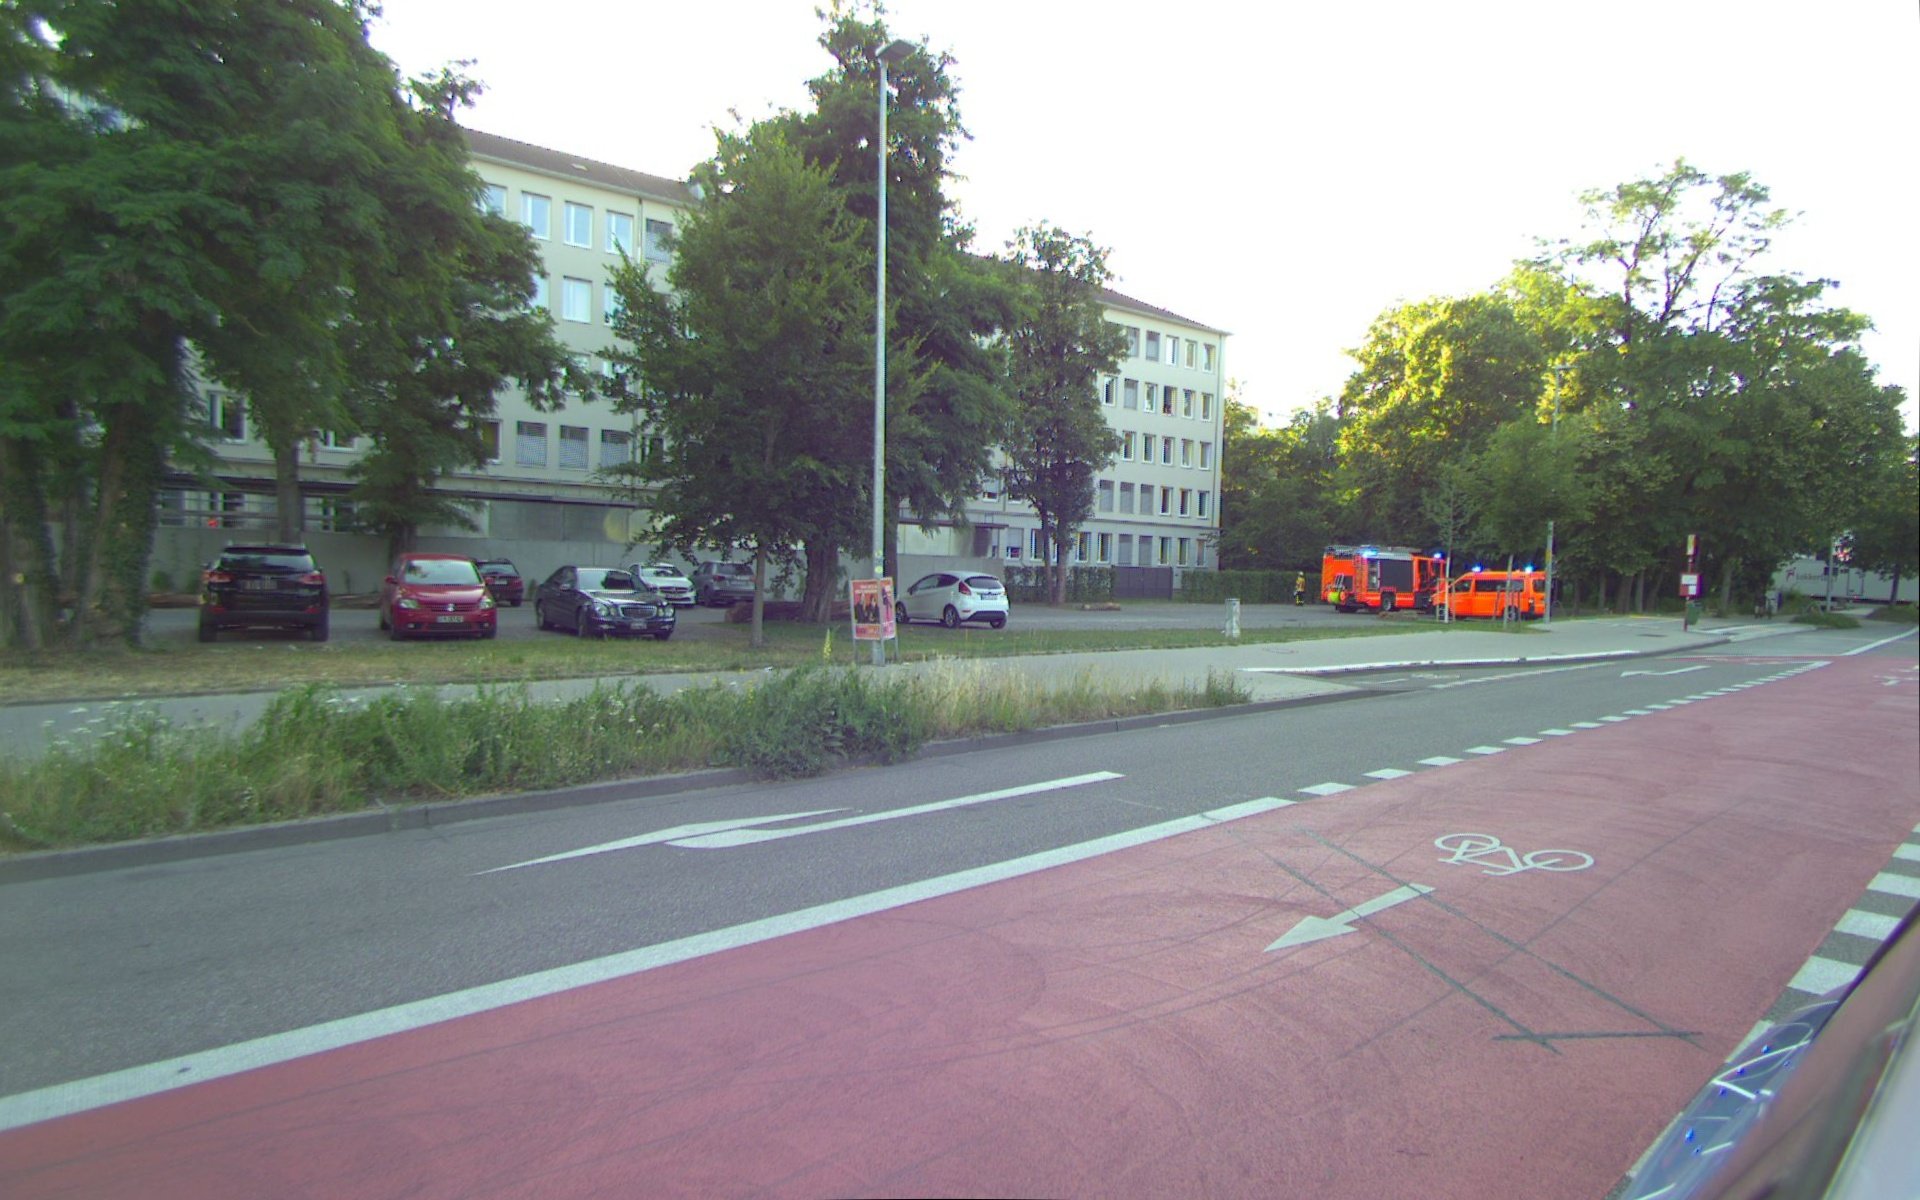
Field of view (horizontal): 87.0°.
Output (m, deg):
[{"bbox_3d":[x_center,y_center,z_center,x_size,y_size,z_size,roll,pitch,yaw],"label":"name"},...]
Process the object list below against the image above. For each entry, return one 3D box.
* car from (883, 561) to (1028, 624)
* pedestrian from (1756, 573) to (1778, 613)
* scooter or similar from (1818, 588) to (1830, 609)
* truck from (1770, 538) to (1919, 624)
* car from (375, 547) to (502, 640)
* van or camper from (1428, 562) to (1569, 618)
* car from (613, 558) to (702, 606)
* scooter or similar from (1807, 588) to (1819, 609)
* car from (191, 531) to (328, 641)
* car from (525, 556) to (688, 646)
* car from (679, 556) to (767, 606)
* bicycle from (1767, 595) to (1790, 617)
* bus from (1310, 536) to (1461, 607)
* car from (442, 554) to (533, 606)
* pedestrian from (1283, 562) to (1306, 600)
[{"bbox_3d":[-0.193,-0.236,27.029,1.876,1.556,3.999,0,2,-37],"label":"car"},{"bbox_3d":[41.669,-0.364,52.252,0.719,2.038,0.688,2,2,30],"label":"pedestrian"},{"bbox_3d":[54.817,-0.079,64.210,0.482,1.297,1.123,5,3,41],"label":"scooter or similar"},{"bbox_3d":[65.353,-1.302,69.372,5.051,5.642,15.121,1,2,-14],"label":"truck"},{"bbox_3d":[-10.151,-0.195,19.554,1.751,1.580,4.003,0,2,-34],"label":"car"},{"bbox_3d":[22.996,-0.472,43.423,2.250,2.272,4.833,0,1,-32],"label":"van or camper"},{"bbox_3d":[-10.141,-0.625,33.732,1.798,1.494,4.002,0,1,-33],"label":"car"},{"bbox_3d":[53.290,-0.094,63.194,0.482,1.297,1.213,5,3,40],"label":"scooter or similar"},{"bbox_3d":[-12.395,-0.280,17.896,1.802,1.715,3.910,0,1,-36],"label":"car"},{"bbox_3d":[-7.443,-0.085,21.015,1.866,1.465,4.584,-2,6,-37],"label":"car"},{"bbox_3d":[-8.351,-0.690,35.428,1.875,1.636,4.004,-1,2,-32],"label":"car"},{"bbox_3d":[41.972,0.302,51.902,0.828,1.111,1.943,0,1,36],"label":"bicycle"},{"bbox_3d":[20.891,-1.364,49.539,7.810,3.236,2.999,0,1,-34],"label":"bus"},{"bbox_3d":[-14.460,-0.629,30.876,1.866,1.460,4.001,0,2,-35],"label":"car"},{"bbox_3d":[18.414,-1.046,55.714,0.810,2.038,0.774,1,2,-32],"label":"pedestrian"}]
